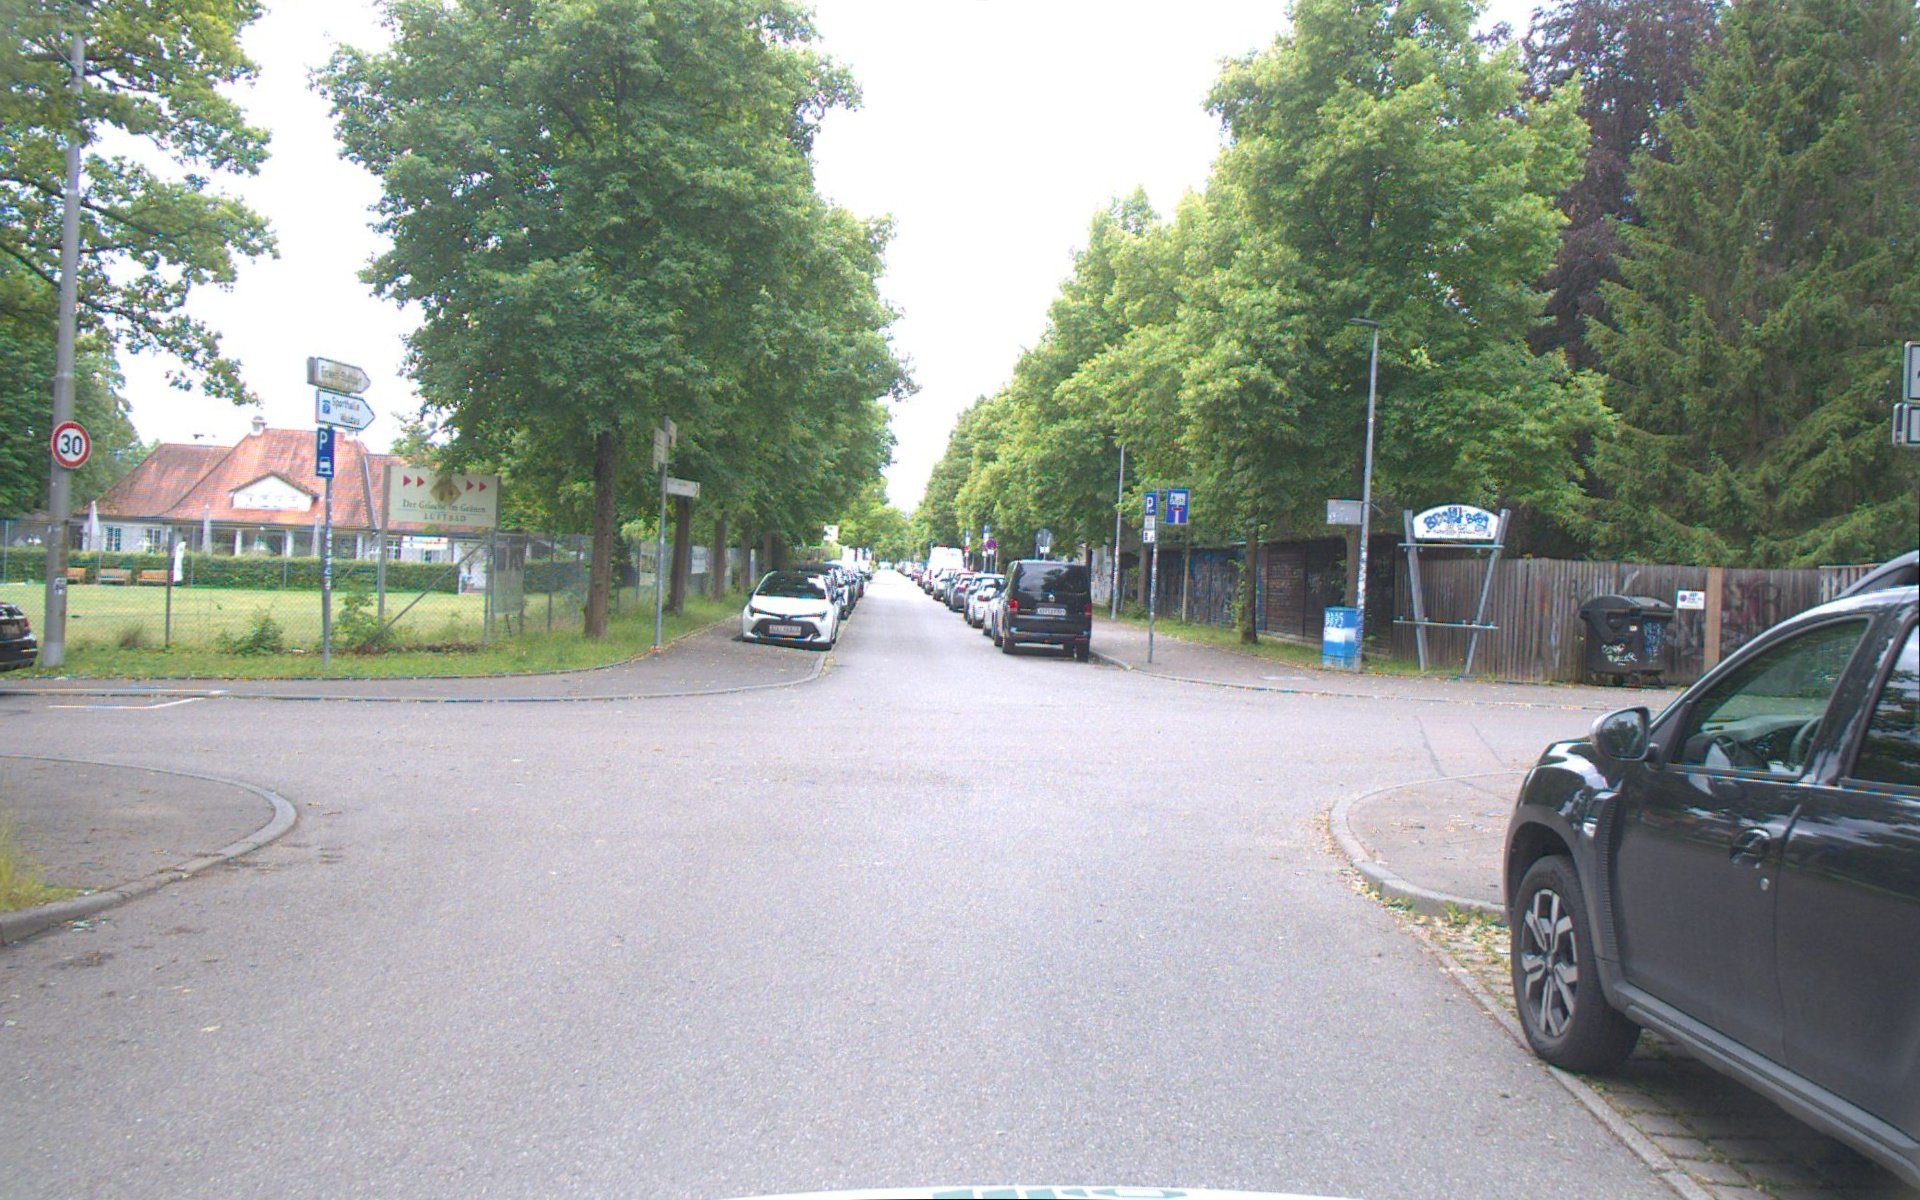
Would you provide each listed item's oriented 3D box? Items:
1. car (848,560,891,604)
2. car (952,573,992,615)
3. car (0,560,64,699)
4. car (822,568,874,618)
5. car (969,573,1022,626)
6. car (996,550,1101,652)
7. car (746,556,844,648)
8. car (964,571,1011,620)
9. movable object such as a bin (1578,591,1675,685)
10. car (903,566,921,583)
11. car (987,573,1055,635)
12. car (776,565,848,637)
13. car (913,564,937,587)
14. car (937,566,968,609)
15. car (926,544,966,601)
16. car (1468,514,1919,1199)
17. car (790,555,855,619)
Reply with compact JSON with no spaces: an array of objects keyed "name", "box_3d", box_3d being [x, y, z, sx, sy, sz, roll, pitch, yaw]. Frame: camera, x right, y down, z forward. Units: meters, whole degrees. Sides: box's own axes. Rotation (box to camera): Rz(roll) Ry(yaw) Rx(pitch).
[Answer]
[{"name":"car","box_3d":[-3.602,-0.721,65.416,1.562,1.586,3.191,4,0,-4]},{"name":"car","box_3d":[0.440,-0.254,64.029,1.439,1.558,3.188,1,1,-1]},{"name":"car","box_3d":[-12.675,0.334,18.573,4.224,1.520,1.772,0,2,0]},{"name":"car","box_3d":[-3.711,-0.240,54.782,1.562,1.483,3.191,4,0,-4]},{"name":"car","box_3d":[1.060,-0.030,50.037,1.439,1.507,3.188,1,1,-1]},{"name":"car","box_3d":[1.869,-0.003,36.051,1.948,2.049,4.107,1,1,-1]},{"name":"car","box_3d":[-3.281,0.011,33.255,1.731,1.623,4.212,4,0,-5]},{"name":"car","box_3d":[0.886,-0.159,55.146,1.439,1.558,3.188,1,1,-1]},{"name":"movable object such as a bin","box_3d":[10.797,0.611,26.793,1.060,1.468,1.277,1,-1,44]},{"name":"car","box_3d":[-5.403,-2.895,186.995,1.859,1.736,4.064,1,0,1]},{"name":"car","box_3d":[1.546,0.080,42.904,1.565,1.507,3.520,1,1,-1]},{"name":"car","box_3d":[-3.438,0.001,38.559,1.515,1.480,3.662,4,0,-5]},{"name":"car","box_3d":[-3.237,-2.250,153.707,1.952,2.049,4.000,1,-1,1]},{"name":"car","box_3d":[-0.375,-0.616,80.139,1.439,2.002,3.188,1,1,-1]},{"name":"car","box_3d":[-0.806,-1.534,93.534,2.140,3.068,4.896,1,1,-1]},{"name":"car","box_3d":[2.834,0.669,4.080,1.701,1.662,4.374,1,0,-1]},{"name":"car","box_3d":[-3.907,-0.383,47.309,1.658,1.623,3.996,4,0,-4]}]
